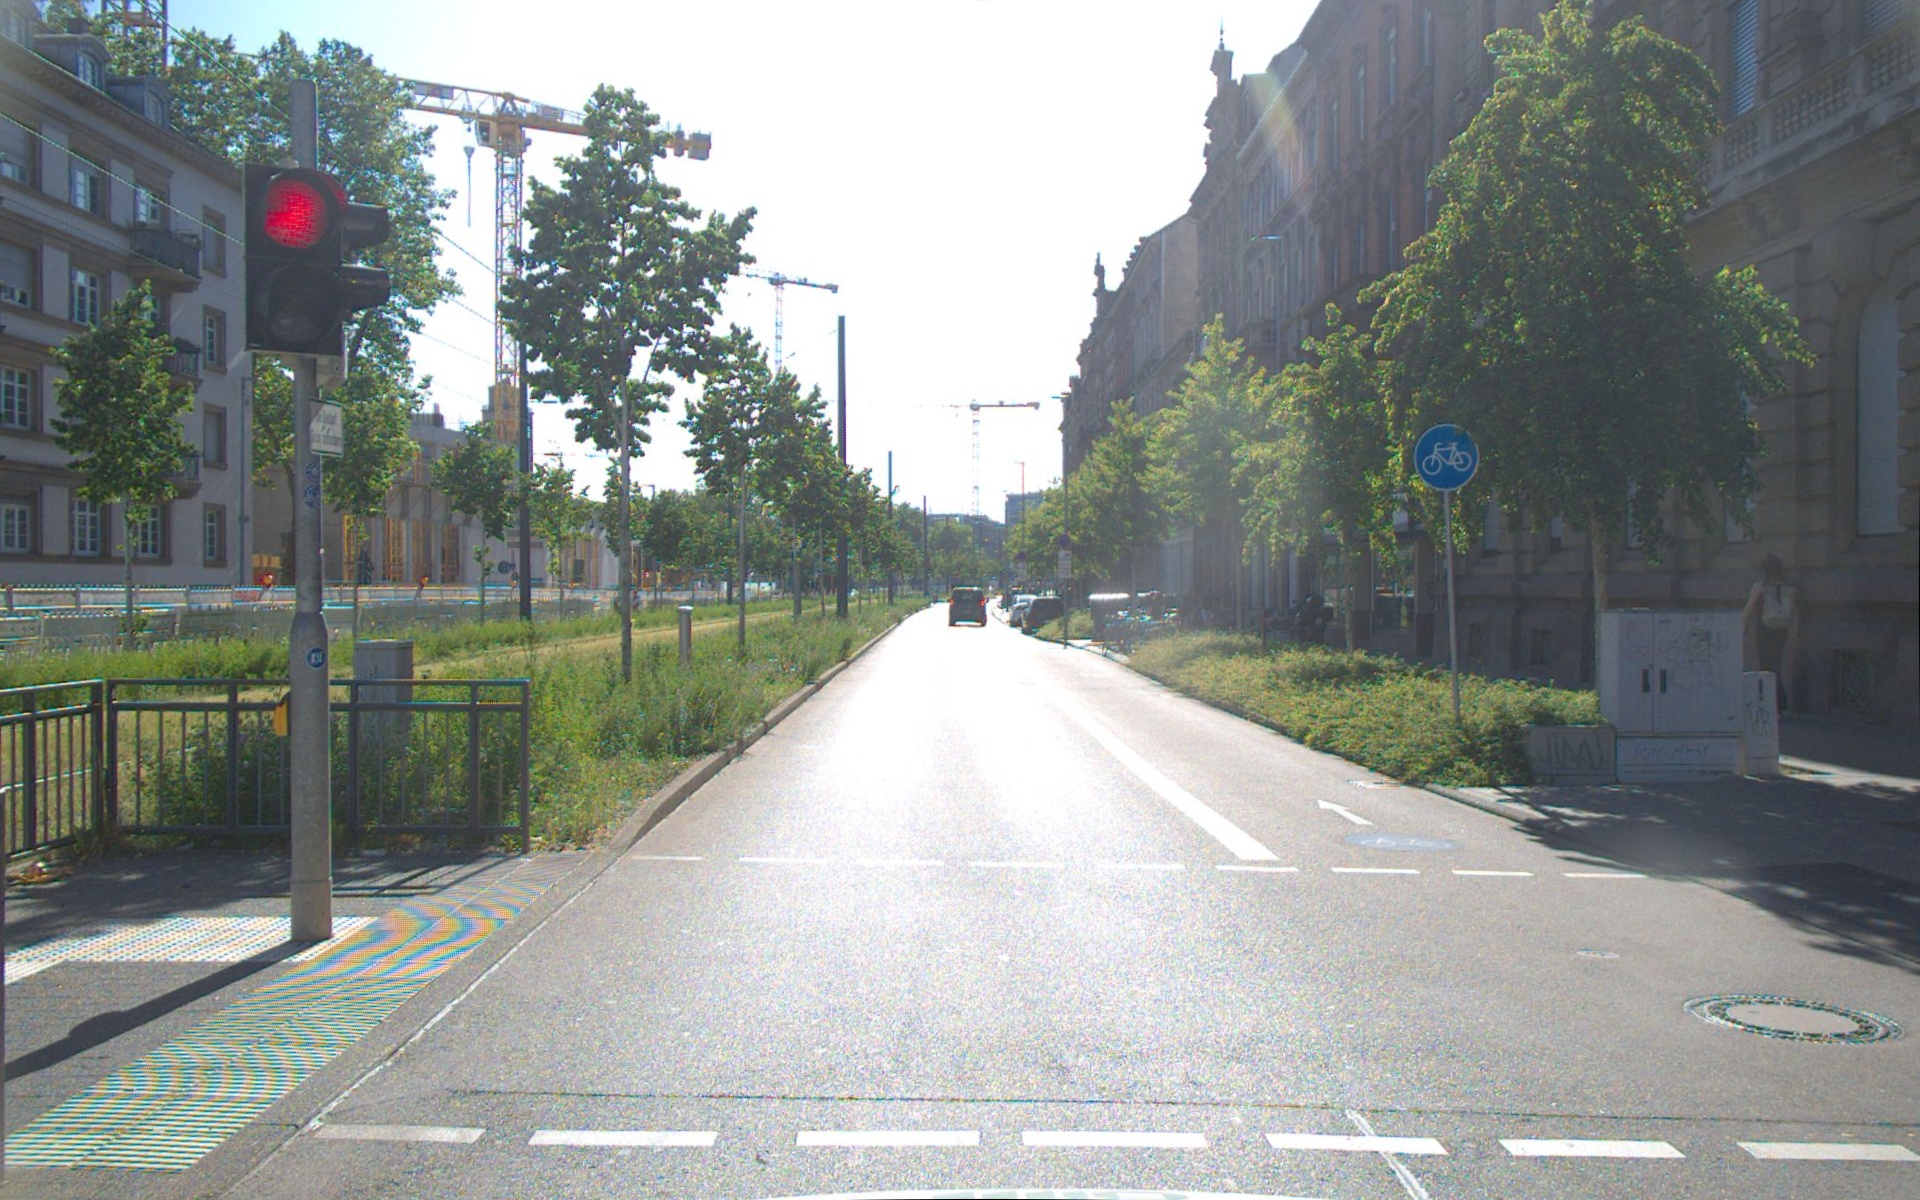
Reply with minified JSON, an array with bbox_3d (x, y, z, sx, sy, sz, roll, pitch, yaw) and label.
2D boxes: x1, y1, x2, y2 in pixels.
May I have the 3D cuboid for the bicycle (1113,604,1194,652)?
[{"bbox_3d":[4.860,0.697,41.504,1.938,1.127,0.435,-2,0,-4],"label":"bicycle"}]

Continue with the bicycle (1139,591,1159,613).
[{"bbox_3d":[9.607,0.104,84.203,0.706,1.109,2.198,-1,0,0],"label":"bicycle"}]

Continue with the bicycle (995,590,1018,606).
[{"bbox_3d":[3.895,-0.156,137.691,1.843,1.255,0.499,-3,0,-6],"label":"bicycle"}]

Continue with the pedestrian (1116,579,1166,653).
[{"bbox_3d":[4.496,0.387,41.190,0.885,1.766,0.846,-4,0,-16],"label":"pedestrian"}]

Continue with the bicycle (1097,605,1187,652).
[{"bbox_3d":[4.701,0.727,42.667,2.247,1.121,0.484,-2,0,-15],"label":"bicycle"}]

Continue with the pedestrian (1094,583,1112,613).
[{"bbox_3d":[8.476,-0.141,98.057,0.976,1.762,0.866,1,-1,-1],"label":"pedestrian"}]

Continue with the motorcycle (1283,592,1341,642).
[{"bbox_3d":[9.449,0.458,44.513,0.848,1.288,2.981,1,0,-1],"label":"motorcycle"}]

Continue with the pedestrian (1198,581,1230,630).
[{"bbox_3d":[9.018,0.186,58.716,0.951,1.667,0.992,-1,1,-1],"label":"pedestrian"}]

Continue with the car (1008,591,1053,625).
[{"bbox_3d":[3.397,0.364,80.317,1.912,1.521,5.104,-2,0,0],"label":"car"}]

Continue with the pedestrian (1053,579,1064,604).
[{"bbox_3d":[8.196,-0.701,138.123,0.801,2.049,1.046,1,-2,0],"label":"pedestrian"}]

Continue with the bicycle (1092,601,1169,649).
[{"bbox_3d":[4.587,0.673,44.501,1.937,1.143,0.481,-4,1,-6],"label":"bicycle"}]

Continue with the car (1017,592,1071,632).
[{"bbox_3d":[3.395,0.478,67.609,1.730,1.502,4.446,-2,0,-3],"label":"car"}]

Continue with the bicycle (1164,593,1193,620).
[{"bbox_3d":[9.643,0.264,73.034,0.858,1.124,2.180,-3,0,-3],"label":"bicycle"}]

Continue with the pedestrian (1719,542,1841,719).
[{"bbox_3d":[9.480,0.342,19.166,0.871,1.953,1.098,-2,0,4],"label":"pedestrian"}]

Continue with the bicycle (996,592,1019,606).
[{"bbox_3d":[4.013,-0.084,139.227,1.790,1.097,0.664,-3,0,-7],"label":"bicycle"}]

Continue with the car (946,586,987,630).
[{"bbox_3d":[0.314,0.379,80.425,1.953,2.049,4.000,1,0,0],"label":"car"}]

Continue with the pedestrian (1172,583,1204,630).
[{"bbox_3d":[8.083,0.223,58.667,0.931,1.594,1.080,-1,1,-1],"label":"pedestrian"}]

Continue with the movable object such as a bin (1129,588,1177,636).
[{"bbox_3d":[6.407,0.406,54.949,1.345,1.521,1.749,-3,0,0],"label":"movable object such as a bin"}]

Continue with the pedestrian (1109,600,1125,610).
[{"bbox_3d":[9.595,0.310,100.994,0.757,0.562,2.007,-1,1,-1],"label":"pedestrian"}]

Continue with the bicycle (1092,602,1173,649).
[{"bbox_3d":[4.597,0.669,44.093,2.004,1.126,0.610,-3,0,-7],"label":"bicycle"}]

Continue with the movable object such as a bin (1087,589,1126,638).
[{"bbox_3d":[4.844,0.435,54.752,1.244,1.488,1.645,1,2,4],"label":"movable object such as a bin"}]

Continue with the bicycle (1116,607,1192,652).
[{"bbox_3d":[4.822,0.729,41.159,1.780,1.074,0.571,-2,0,-7],"label":"bicycle"}]

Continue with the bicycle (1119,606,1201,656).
[{"bbox_3d":[4.796,0.738,39.686,1.855,1.128,0.517,-2,0,-6],"label":"bicycle"}]
